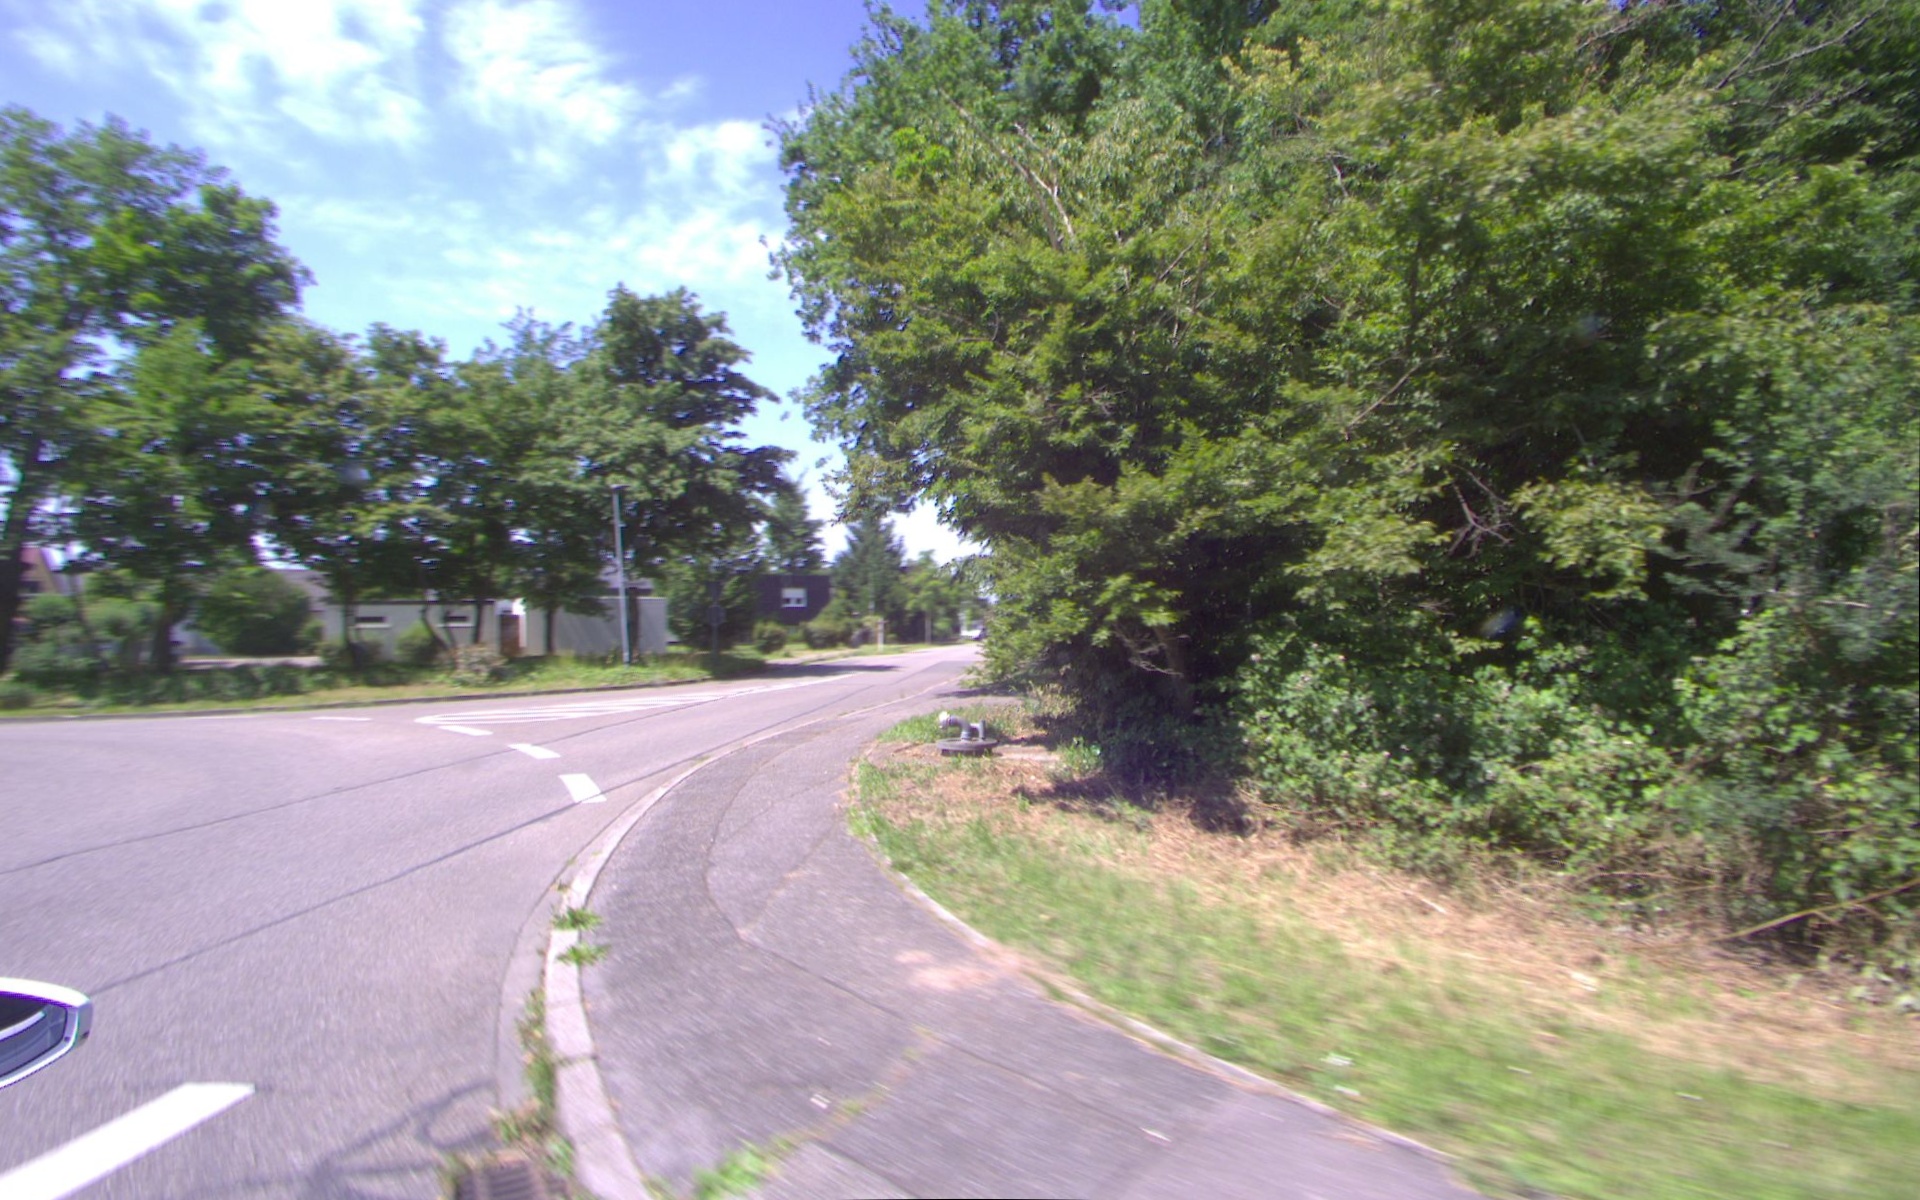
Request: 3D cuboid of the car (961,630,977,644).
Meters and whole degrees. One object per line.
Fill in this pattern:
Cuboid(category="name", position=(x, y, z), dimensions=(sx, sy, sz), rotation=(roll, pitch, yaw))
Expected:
Cuboid(category="car", position=(0.992, 4.226, 112.881), dimensions=(1.724, 1.498, 3.799), rotation=(-1, -3, -1))

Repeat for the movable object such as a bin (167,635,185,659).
Cuboid(category="movable object such as a bin", position=(-38.605, 2.309, 49.302), dimensions=(0.650, 1.127, 0.454), rotation=(0, 0, -33))
